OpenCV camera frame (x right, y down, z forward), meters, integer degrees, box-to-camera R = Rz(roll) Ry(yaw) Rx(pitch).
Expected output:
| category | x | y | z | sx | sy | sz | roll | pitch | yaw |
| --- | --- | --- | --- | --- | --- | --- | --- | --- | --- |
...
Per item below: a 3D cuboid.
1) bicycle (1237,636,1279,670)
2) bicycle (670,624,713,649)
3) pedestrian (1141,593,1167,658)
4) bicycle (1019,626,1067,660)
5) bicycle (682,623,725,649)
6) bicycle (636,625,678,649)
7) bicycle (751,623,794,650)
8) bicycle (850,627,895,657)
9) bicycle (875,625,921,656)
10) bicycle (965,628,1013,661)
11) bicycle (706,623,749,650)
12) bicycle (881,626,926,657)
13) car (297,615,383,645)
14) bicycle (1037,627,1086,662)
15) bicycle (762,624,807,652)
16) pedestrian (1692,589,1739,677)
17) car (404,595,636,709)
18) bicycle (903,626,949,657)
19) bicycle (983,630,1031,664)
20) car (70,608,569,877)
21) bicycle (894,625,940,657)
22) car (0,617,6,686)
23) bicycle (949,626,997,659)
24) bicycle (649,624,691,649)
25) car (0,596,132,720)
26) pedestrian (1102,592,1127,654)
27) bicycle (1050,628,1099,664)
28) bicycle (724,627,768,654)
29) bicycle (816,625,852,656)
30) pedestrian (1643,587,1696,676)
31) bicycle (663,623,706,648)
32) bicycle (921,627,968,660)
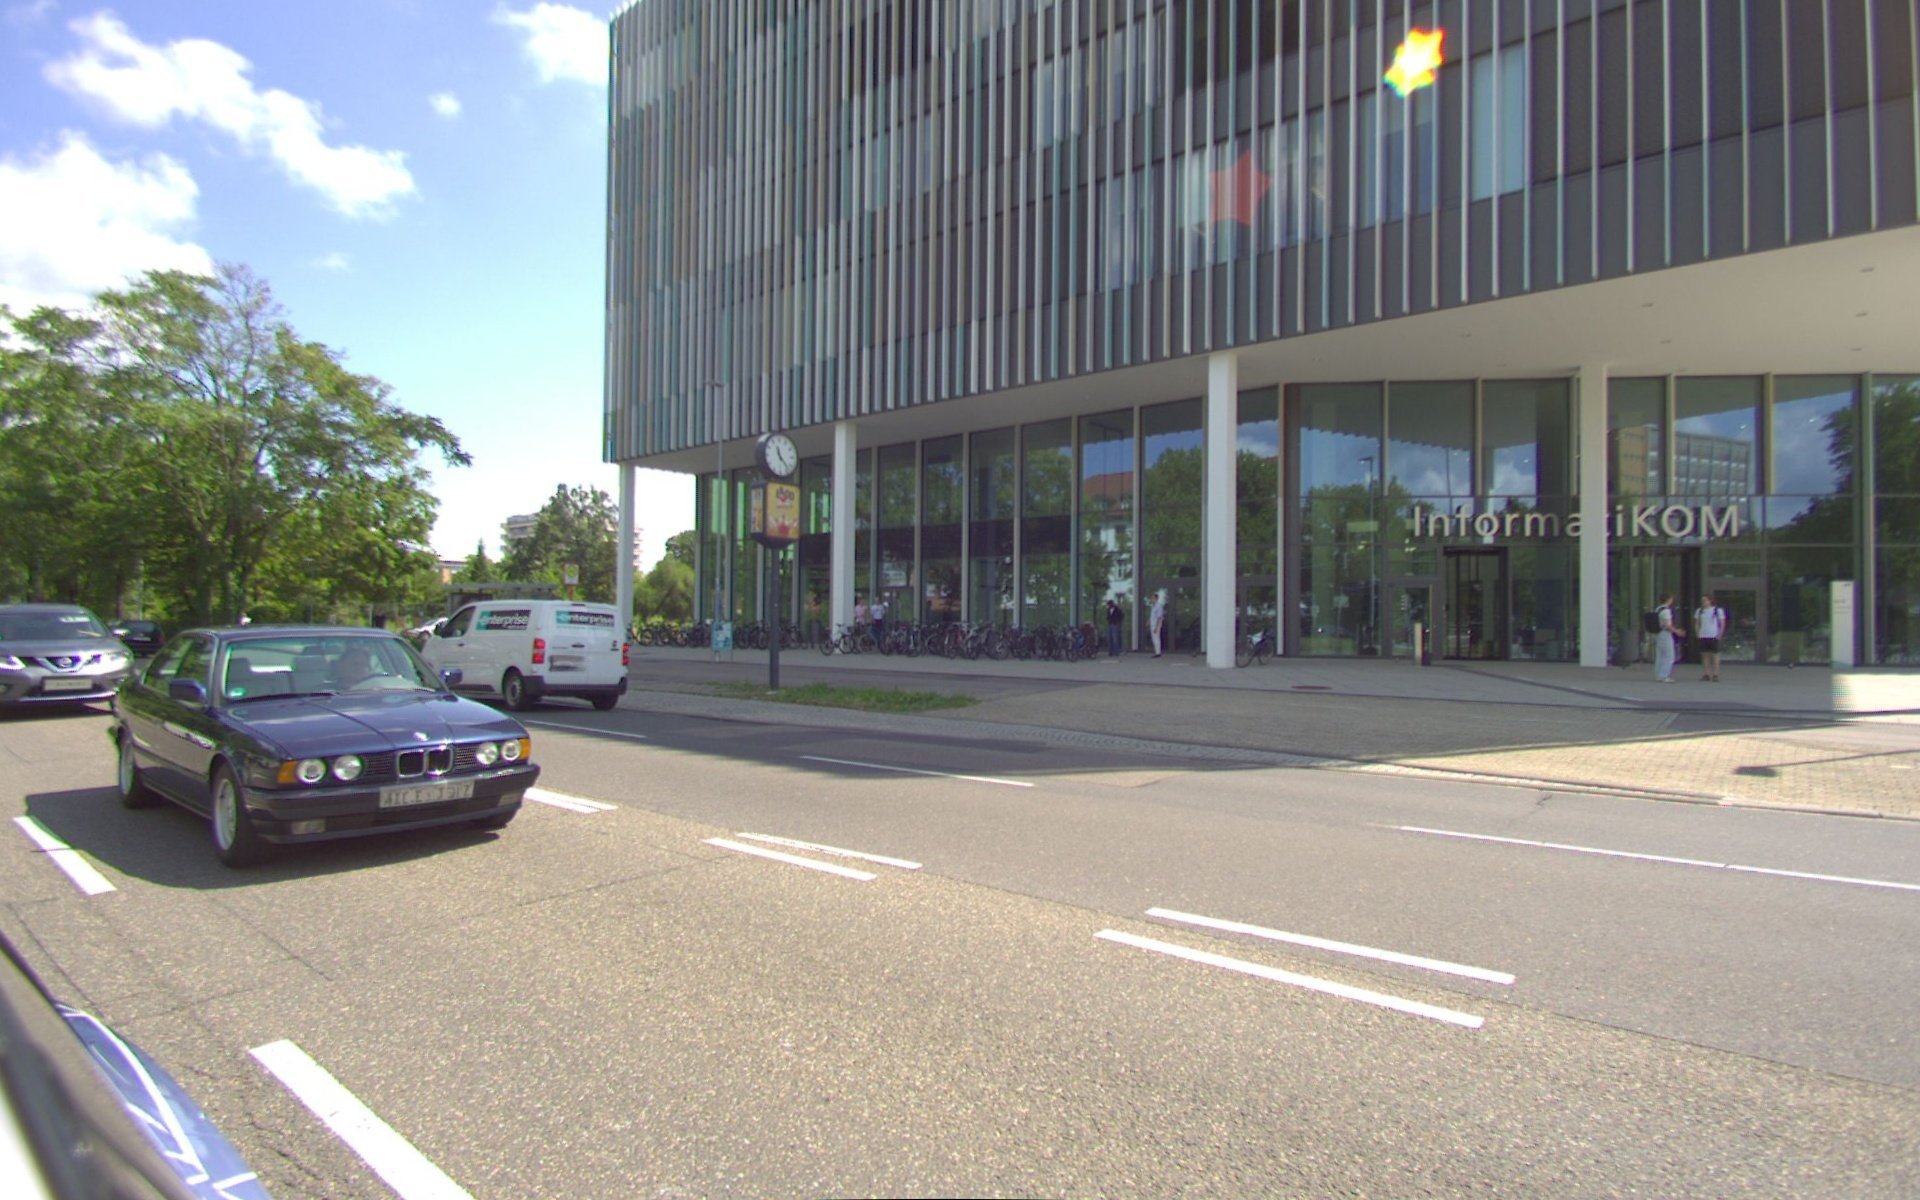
| category | x | y | z | sx | sy | sz | roll | pitch | yaw |
| --- | --- | --- | --- | --- | --- | --- | --- | --- | --- |
| bicycle | 7.672 | 1.358 | 26.023 | 0.373 | 0.782 | 1.524 | -1 | 0 | 44 |
| bicycle | -11.037 | 1.494 | 41.624 | 0.433 | 0.962 | 1.761 | -1 | 0 | 40 |
| pedestrian | 5.660 | 0.737 | 29.493 | 0.553 | 1.856 | 0.556 | -1 | -1 | 33 |
| bicycle | 2.474 | 1.266 | 29.973 | 1.521 | 0.962 | 0.374 | -1 | 0 | -35 |
| bicycle | -10.320 | 1.431 | 40.814 | 0.433 | 0.962 | 1.761 | -1 | 0 | 40 |
| bicycle | -12.910 | 1.582 | 43.144 | 0.433 | 0.962 | 1.761 | -1 | 0 | 40 |
| bicycle | -7.171 | 1.402 | 38.736 | 0.433 | 0.962 | 1.761 | -1 | 0 | 40 |
| bicycle | -2.994 | 1.441 | 34.634 | 1.521 | 0.962 | 0.374 | -1 | 0 | -35 |
| bicycle | -2.067 | 1.341 | 33.842 | 1.521 | 0.962 | 0.374 | -1 | 0 | -35 |
| bicycle | 0.883 | 1.344 | 30.804 | 1.521 | 0.962 | 0.374 | -1 | 0 | -35 |
| bicycle | -9.175 | 1.433 | 39.951 | 0.433 | 0.962 | 1.761 | -1 | 0 | 40 |
| bicycle | -1.869 | 1.359 | 33.466 | 1.521 | 0.962 | 0.374 | -1 | 0 | -35 |
| car | -34.605 | 1.627 | 56.522 | 3.771 | 1.522 | 1.901 | -1 | 0 | -44 |
| bicycle | 2.963 | 1.286 | 29.484 | 1.521 | 0.962 | 0.374 | -1 | 0 | -35 |
| bicycle | -6.536 | 1.416 | 37.733 | 0.433 | 0.962 | 1.761 | -1 | 0 | 40 |
| pedestrian | 16.204 | 0.691 | 21.700 | 0.680 | 1.856 | 0.679 | 0 | -1 | -42 |
| car | -8.109 | 0.923 | 18.448 | 4.726 | 1.825 | 1.879 | -2 | -3 | 39 |
| bicycle | -1.086 | 1.328 | 32.664 | 1.521 | 0.962 | 0.374 | -1 | 0 | -35 |
| bicycle | 1.417 | 1.423 | 30.585 | 1.521 | 0.962 | 0.374 | -1 | 0 | -35 |
| car | -4.866 | 0.782 | 7.384 | 4.608 | 1.397 | 1.675 | -1 | -1 | 39 |
| bicycle | -1.393 | 1.332 | 33.049 | 1.521 | 0.962 | 0.374 | -1 | 0 | -35 |
| car | -20.488 | 1.091 | 20.250 | 1.802 | 1.426 | 4.197 | -1 | 0 | -41 |
| bicycle | 0.401 | 1.313 | 31.246 | 1.521 | 0.962 | 0.374 | -1 | 0 | -35 |
| bicycle | -12.168 | 1.533 | 42.550 | 0.433 | 0.962 | 1.761 | -1 | 0 | 40 |
| car | -14.431 | 0.826 | 15.714 | 4.477 | 1.691 | 1.800 | -1 | 0 | 42 |
| pedestrian | 4.697 | 0.687 | 30.758 | 0.553 | 1.856 | 0.556 | -1 | -1 | 33 |
| bicycle | 3.290 | 1.307 | 28.999 | 1.521 | 0.962 | 0.374 | -1 | 0 | -35 |
| bicycle | -8.333 | 1.555 | 39.409 | 0.433 | 0.962 | 1.761 | -1 | 0 | 40 |
| bicycle | -4.283 | 1.364 | 34.405 | 0.372 | 0.962 | 1.531 | -1 | 0 | 29 |
| pedestrian | 14.997 | 0.658 | 21.410 | 0.775 | 1.856 | 0.519 | 0 | -1 | -15 |
| bicycle | -11.463 | 1.455 | 42.140 | 0.433 | 0.962 | 1.761 | -1 | 0 | 40 |
| bicycle | -0.482 | 1.374 | 32.011 | 1.521 | 0.962 | 0.374 | -1 | 0 | -35 |
